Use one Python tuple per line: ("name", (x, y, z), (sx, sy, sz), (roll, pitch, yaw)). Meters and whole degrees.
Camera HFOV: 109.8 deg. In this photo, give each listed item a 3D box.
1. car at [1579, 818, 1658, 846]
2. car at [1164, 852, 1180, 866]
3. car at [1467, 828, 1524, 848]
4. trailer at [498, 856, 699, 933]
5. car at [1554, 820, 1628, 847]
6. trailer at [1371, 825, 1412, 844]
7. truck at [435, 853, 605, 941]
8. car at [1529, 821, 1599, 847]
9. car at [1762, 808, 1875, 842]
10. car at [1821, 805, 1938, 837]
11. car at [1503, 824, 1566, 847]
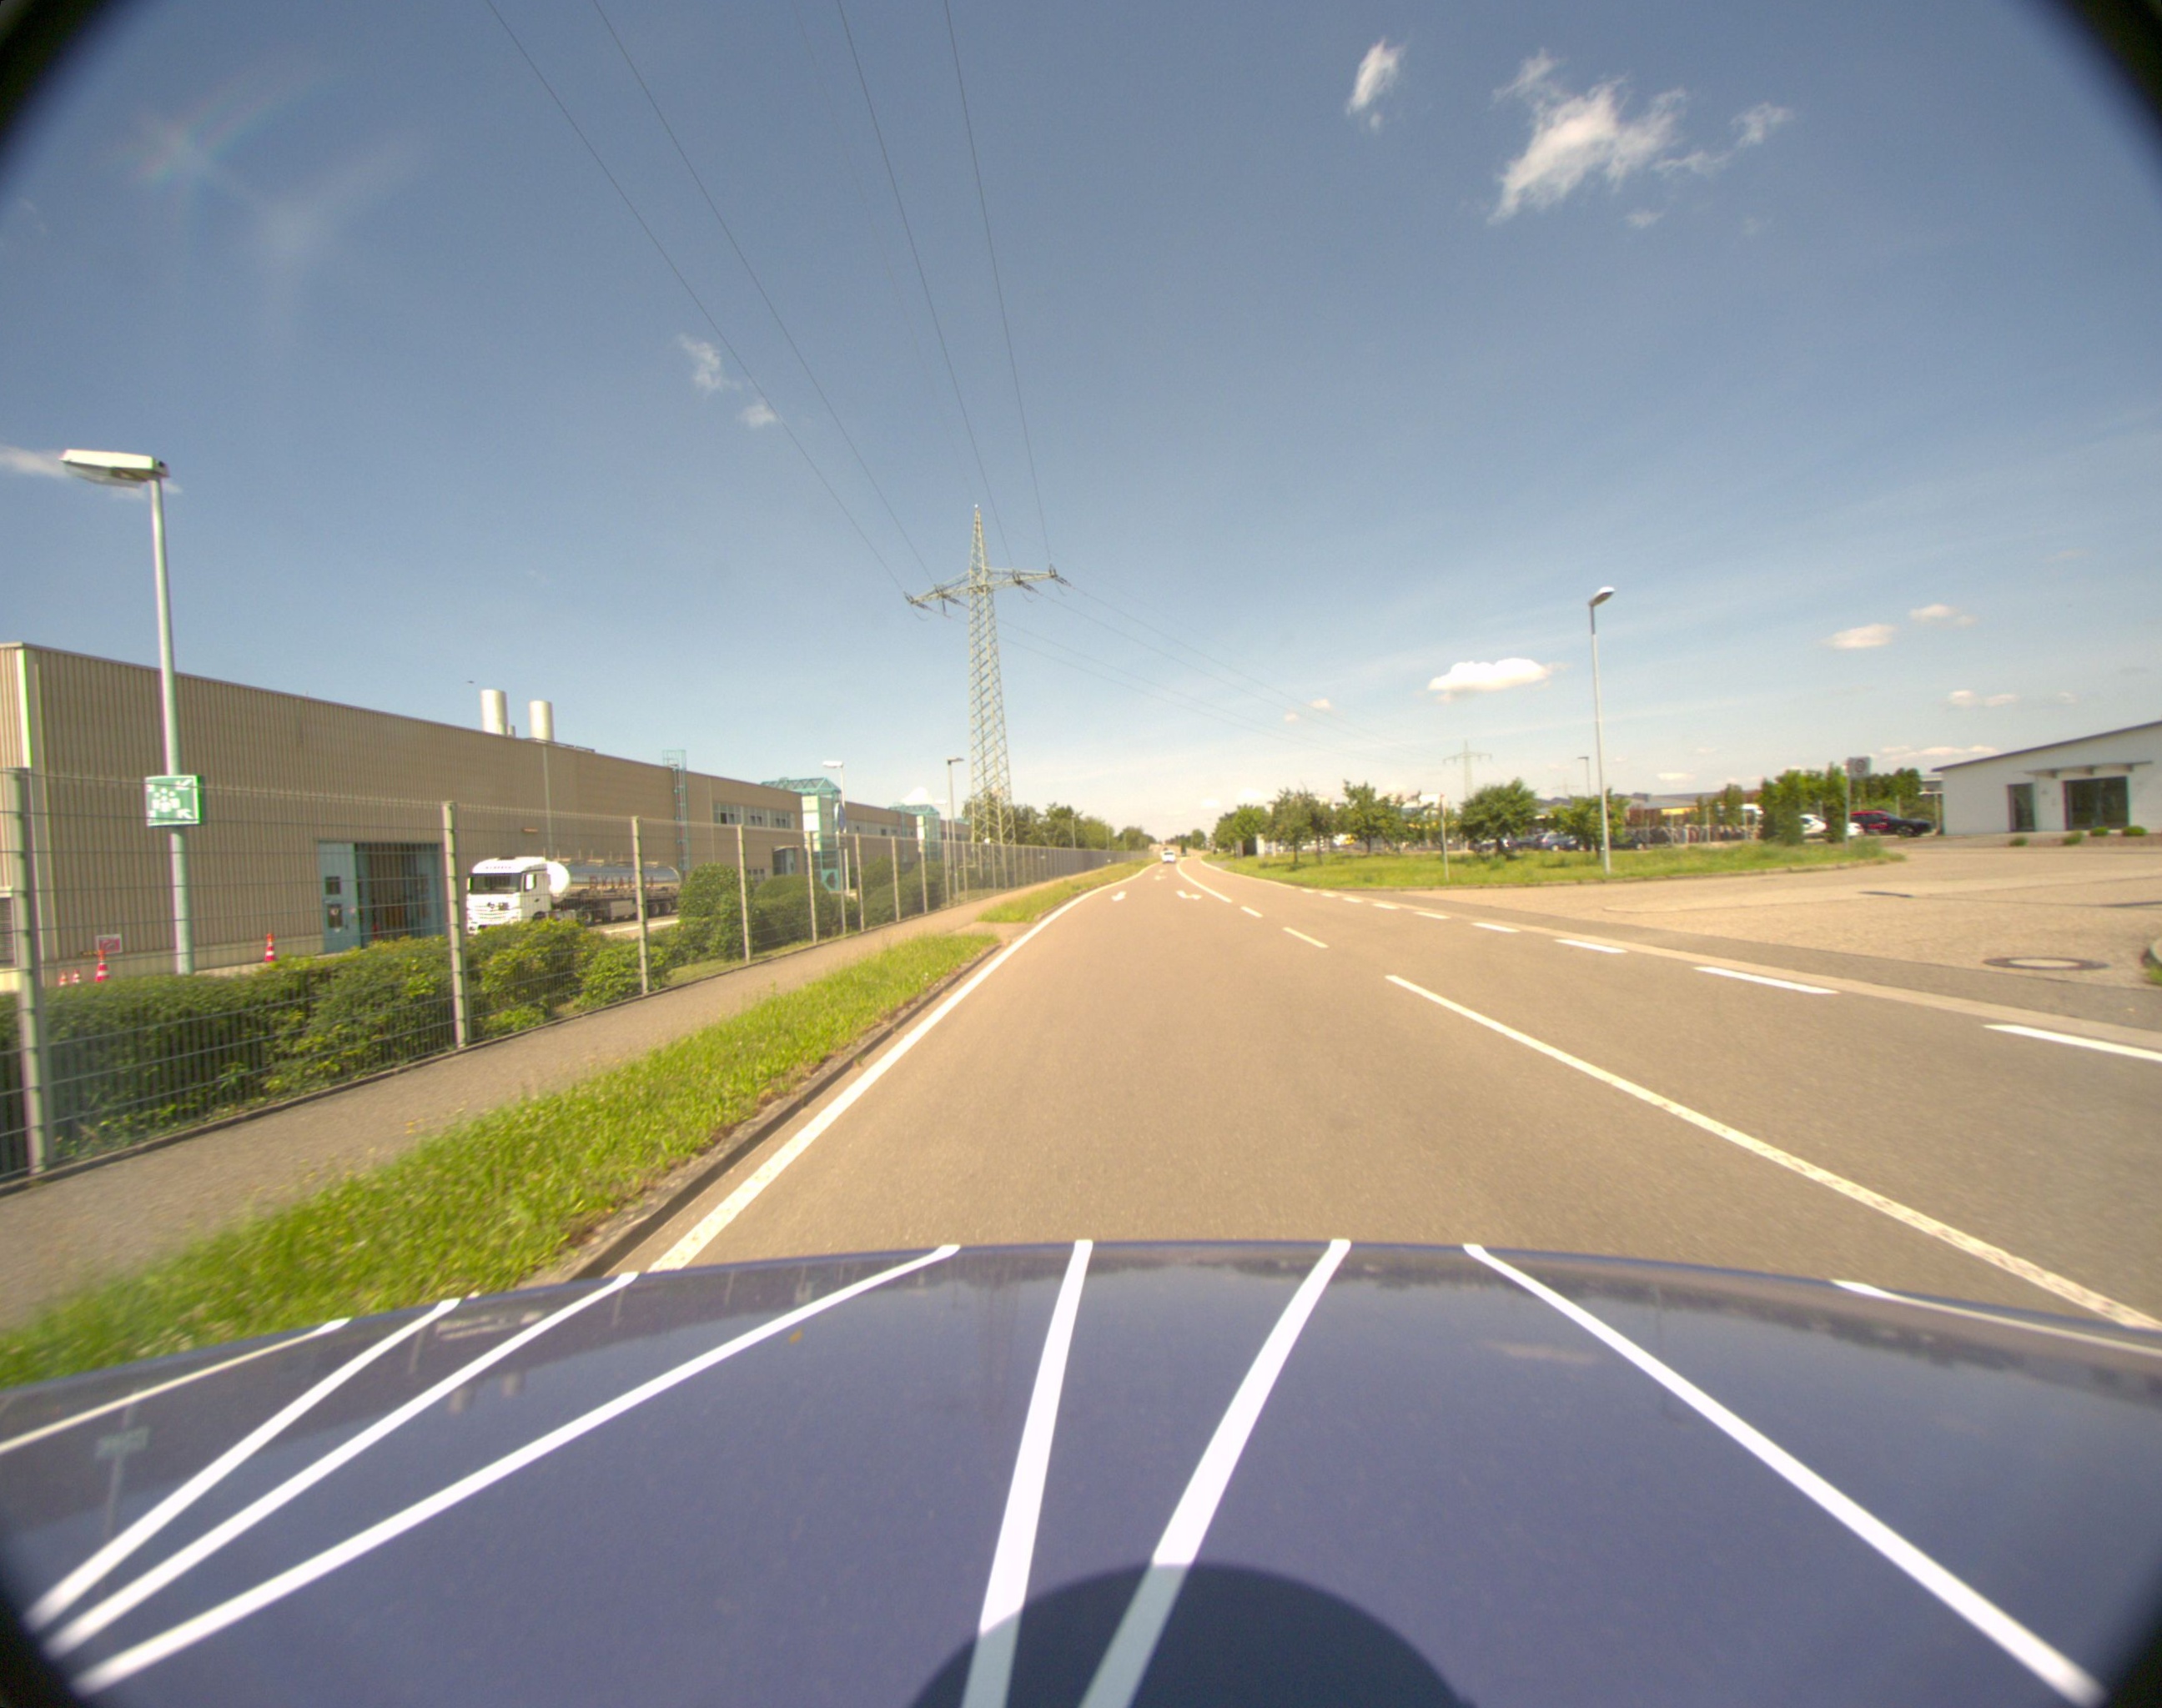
("car", (37.285, -1.478, 52.792), (3.996, 1.630, 2.000), (-4, 0, 2))
("car", (13.226, 0.696, 110.531), (1.997, 1.904, 4.002), (-3, 1, 11))
("car", (37.493, -1.405, 68.745), (3.996, 1.519, 2.000), (-4, 0, 2))
("trailer", (-27.463, 2.046, 44.526), (3.599, 3.713, 12.238), (-2, 0, 1))
("car", (37.110, -1.479, 55.342), (3.996, 1.630, 1.858), (-4, 0, 2))
("trailer", (51.303, -3.214, 125.504), (5.575, 2.809, 2.741), (-4, 0, 1))
("truck", (-27.559, 1.955, 37.838), (3.603, 3.845, 6.407), (-2, 0, -1))
("car", (36.814, -1.505, 57.946), (3.996, 1.630, 2.000), (-4, 0, 2))
("car", (42.203, -1.626, 43.595), (2.002, 1.630, 4.162), (-4, 0, -27))
("car", (45.566, -1.853, 43.448), (2.002, 1.519, 4.162), (-4, 0, -27))
("car", (36.937, -1.480, 61.953), (3.996, 1.546, 1.666), (-4, 0, 2))
